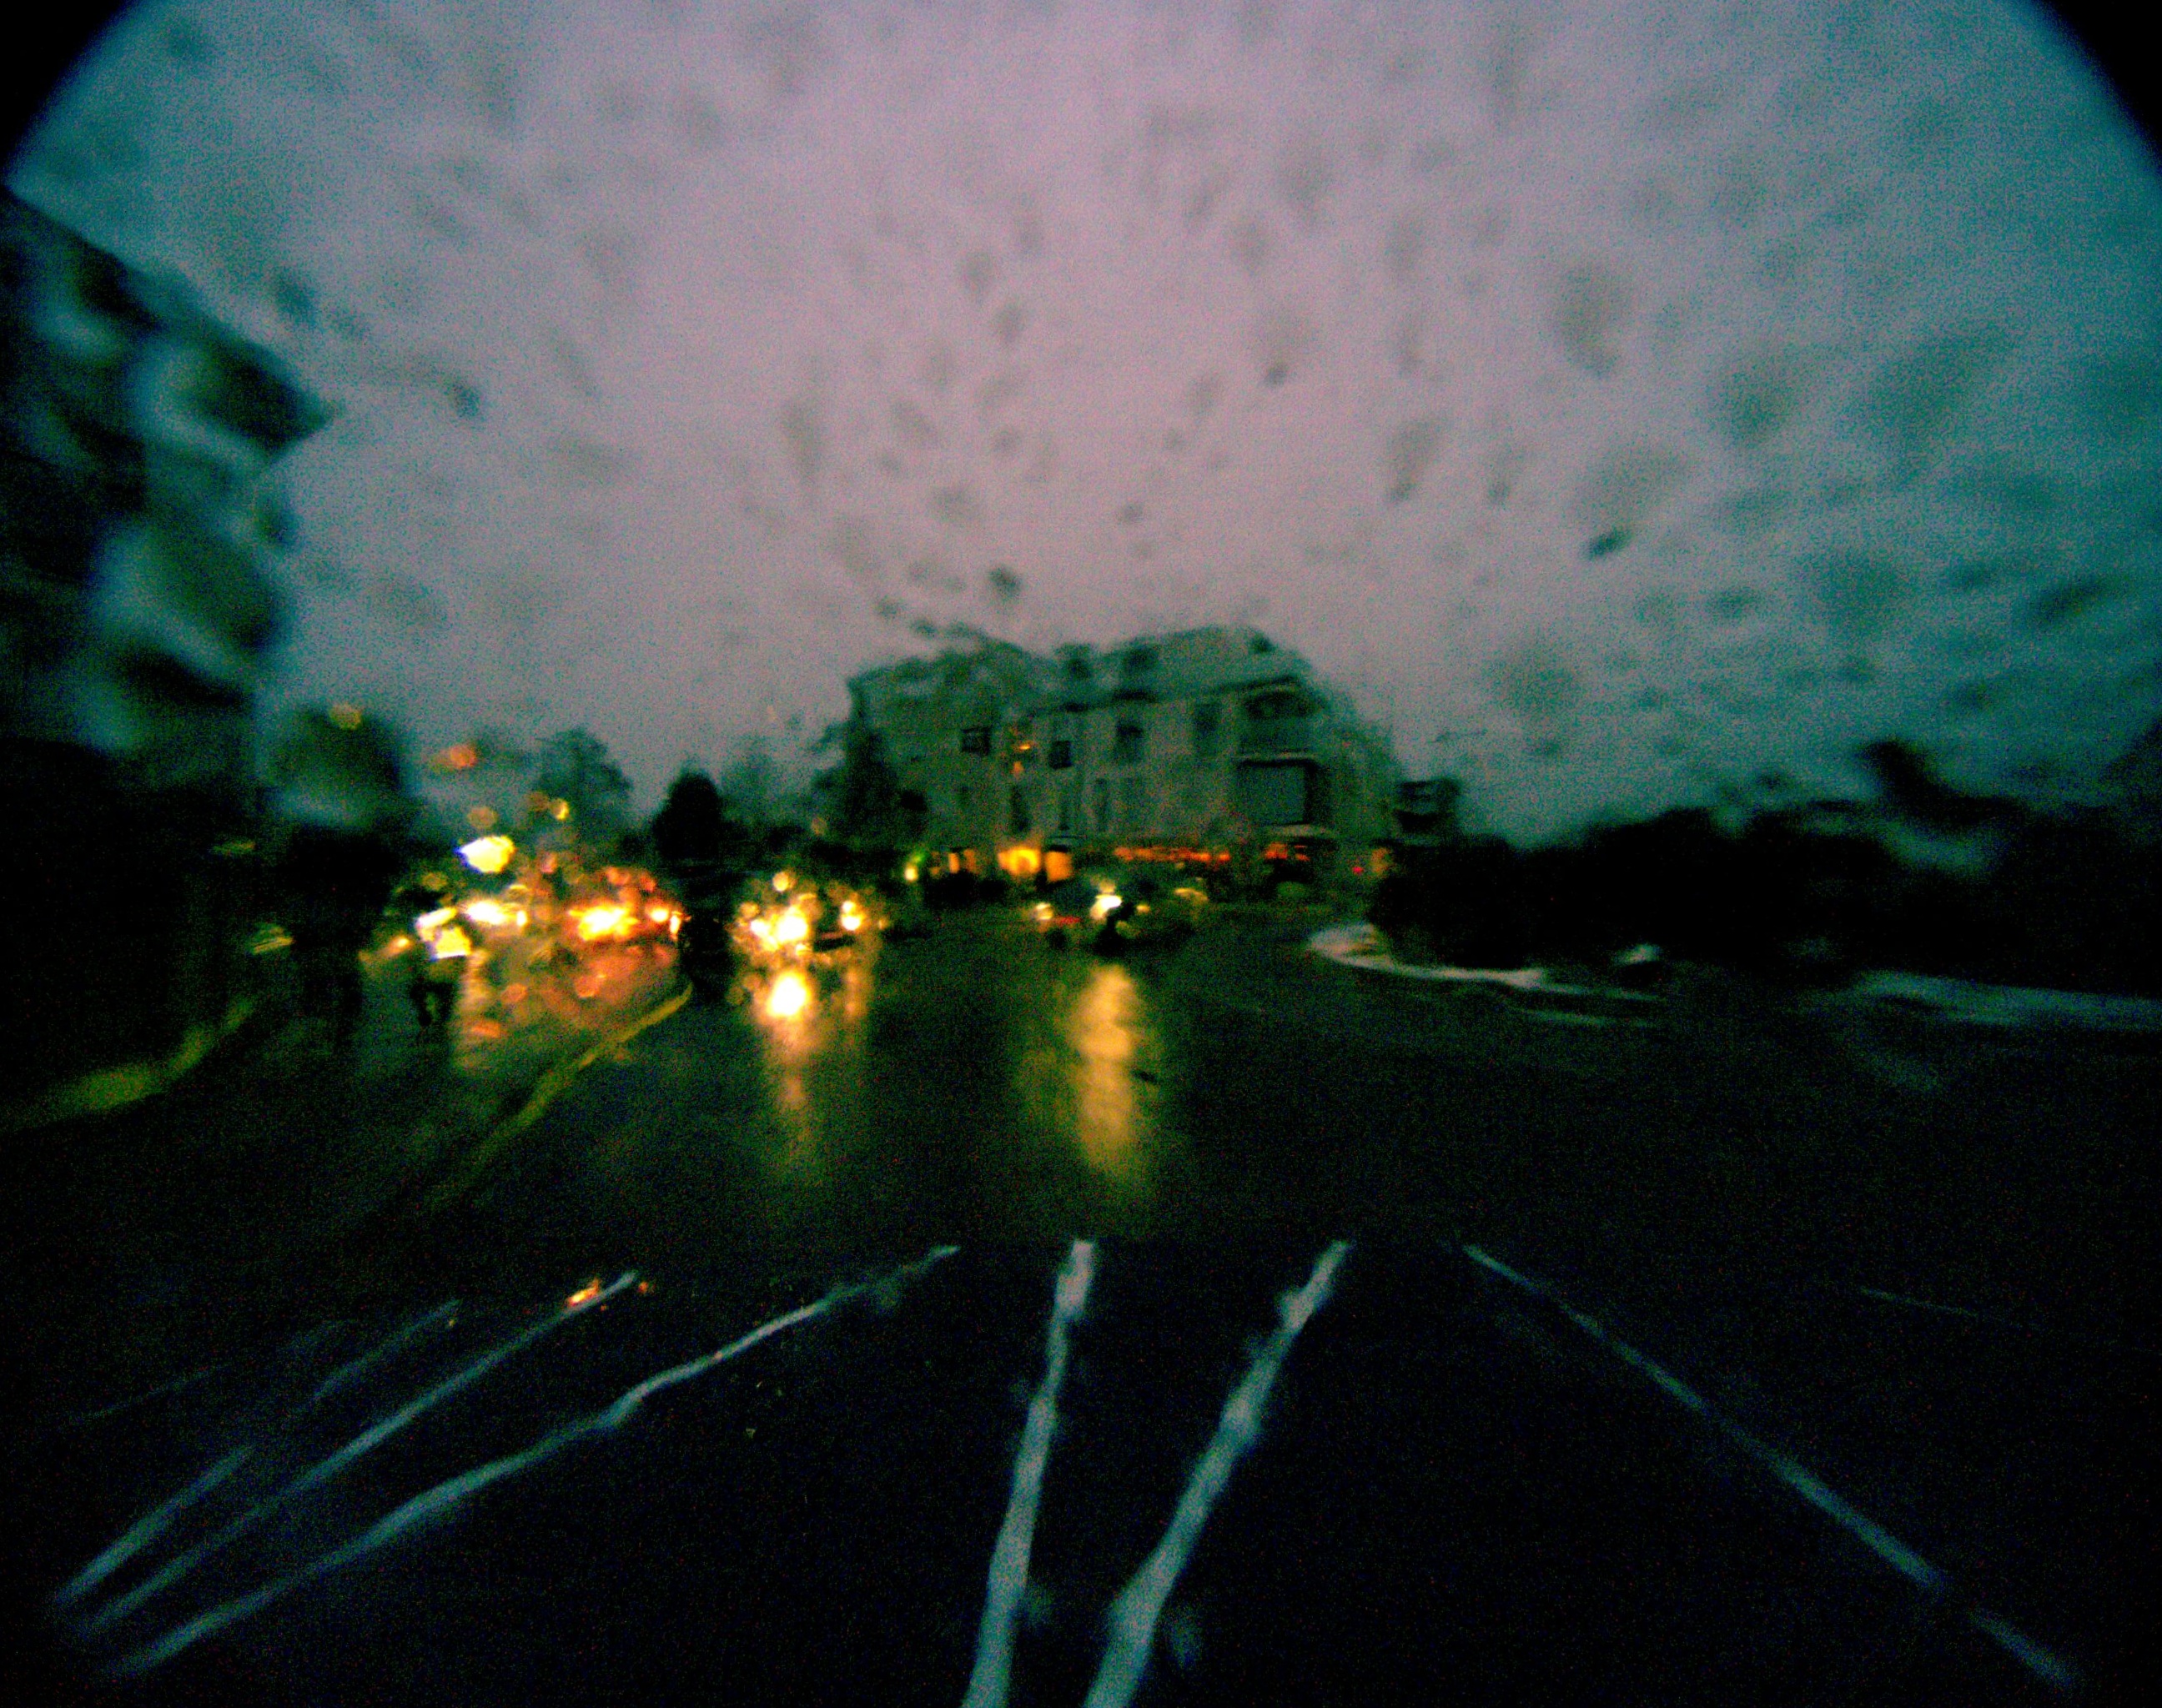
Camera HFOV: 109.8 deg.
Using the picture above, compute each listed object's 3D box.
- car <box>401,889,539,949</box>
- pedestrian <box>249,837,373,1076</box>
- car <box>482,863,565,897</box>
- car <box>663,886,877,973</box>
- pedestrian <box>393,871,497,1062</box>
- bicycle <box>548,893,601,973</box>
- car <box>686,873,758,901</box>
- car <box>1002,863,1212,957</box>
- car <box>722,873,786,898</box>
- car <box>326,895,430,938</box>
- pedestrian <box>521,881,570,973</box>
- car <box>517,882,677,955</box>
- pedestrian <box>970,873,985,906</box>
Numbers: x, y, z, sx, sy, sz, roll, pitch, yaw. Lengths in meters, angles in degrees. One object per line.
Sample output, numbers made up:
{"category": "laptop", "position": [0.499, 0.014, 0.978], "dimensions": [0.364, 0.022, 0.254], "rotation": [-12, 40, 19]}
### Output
{"category": "car", "position": [-17.807, 1.825, 22.106], "dimensions": [4.246, 1.499, 1.700], "rotation": [-2, 0, 30]}
{"category": "pedestrian", "position": [-6.364, 0.800, 6.283], "dimensions": [0.715, 1.820, 0.639], "rotation": [-2, -3, 42]}
{"category": "car", "position": [-35.421, 1.639, 48.251], "dimensions": [4.847, 2.001, 2.218], "rotation": [-2, -1, 27]}
{"category": "car", "position": [-6.215, 1.385, 15.032], "dimensions": [4.223, 1.376, 1.854], "rotation": [-2, 1, 35]}
{"category": "pedestrian", "position": [-5.776, 0.971, 6.902], "dimensions": [0.715, 1.611, 0.584], "rotation": [-2, -3, 42]}
{"category": "bicycle", "position": [-8.965, 1.354, 13.503], "dimensions": [0.552, 1.287, 1.938], "rotation": [2, -2, -28]}
{"category": "car", "position": [-20.471, 1.879, 43.324], "dimensions": [3.758, 1.507, 1.719], "rotation": [-2, -1, 27]}
{"category": "car", "position": [0.710, 1.062, 15.954], "dimensions": [1.949, 1.583, 4.642], "rotation": [-3, -1, 39]}
{"category": "car", "position": [-19.686, 1.900, 45.756], "dimensions": [3.436, 1.464, 1.522], "rotation": [-1, -1, 21]}
{"category": "car", "position": [-23.945, 2.069, 25.849], "dimensions": [3.669, 1.321, 1.567], "rotation": [-2, -2, 30]}
{"category": "pedestrian", "position": [-9.398, 1.259, 13.358], "dimensions": [0.611, 1.555, 0.690], "rotation": [1, -2, -29]}
{"category": "car", "position": [-11.949, 1.529, 18.700], "dimensions": [3.989, 1.543, 1.700], "rotation": [-2, 0, 32]}
{"category": "pedestrian", "position": [-4.594, 1.561, 33.733], "dimensions": [0.451, 1.445, 0.554], "rotation": [-1, -1, 20]}
